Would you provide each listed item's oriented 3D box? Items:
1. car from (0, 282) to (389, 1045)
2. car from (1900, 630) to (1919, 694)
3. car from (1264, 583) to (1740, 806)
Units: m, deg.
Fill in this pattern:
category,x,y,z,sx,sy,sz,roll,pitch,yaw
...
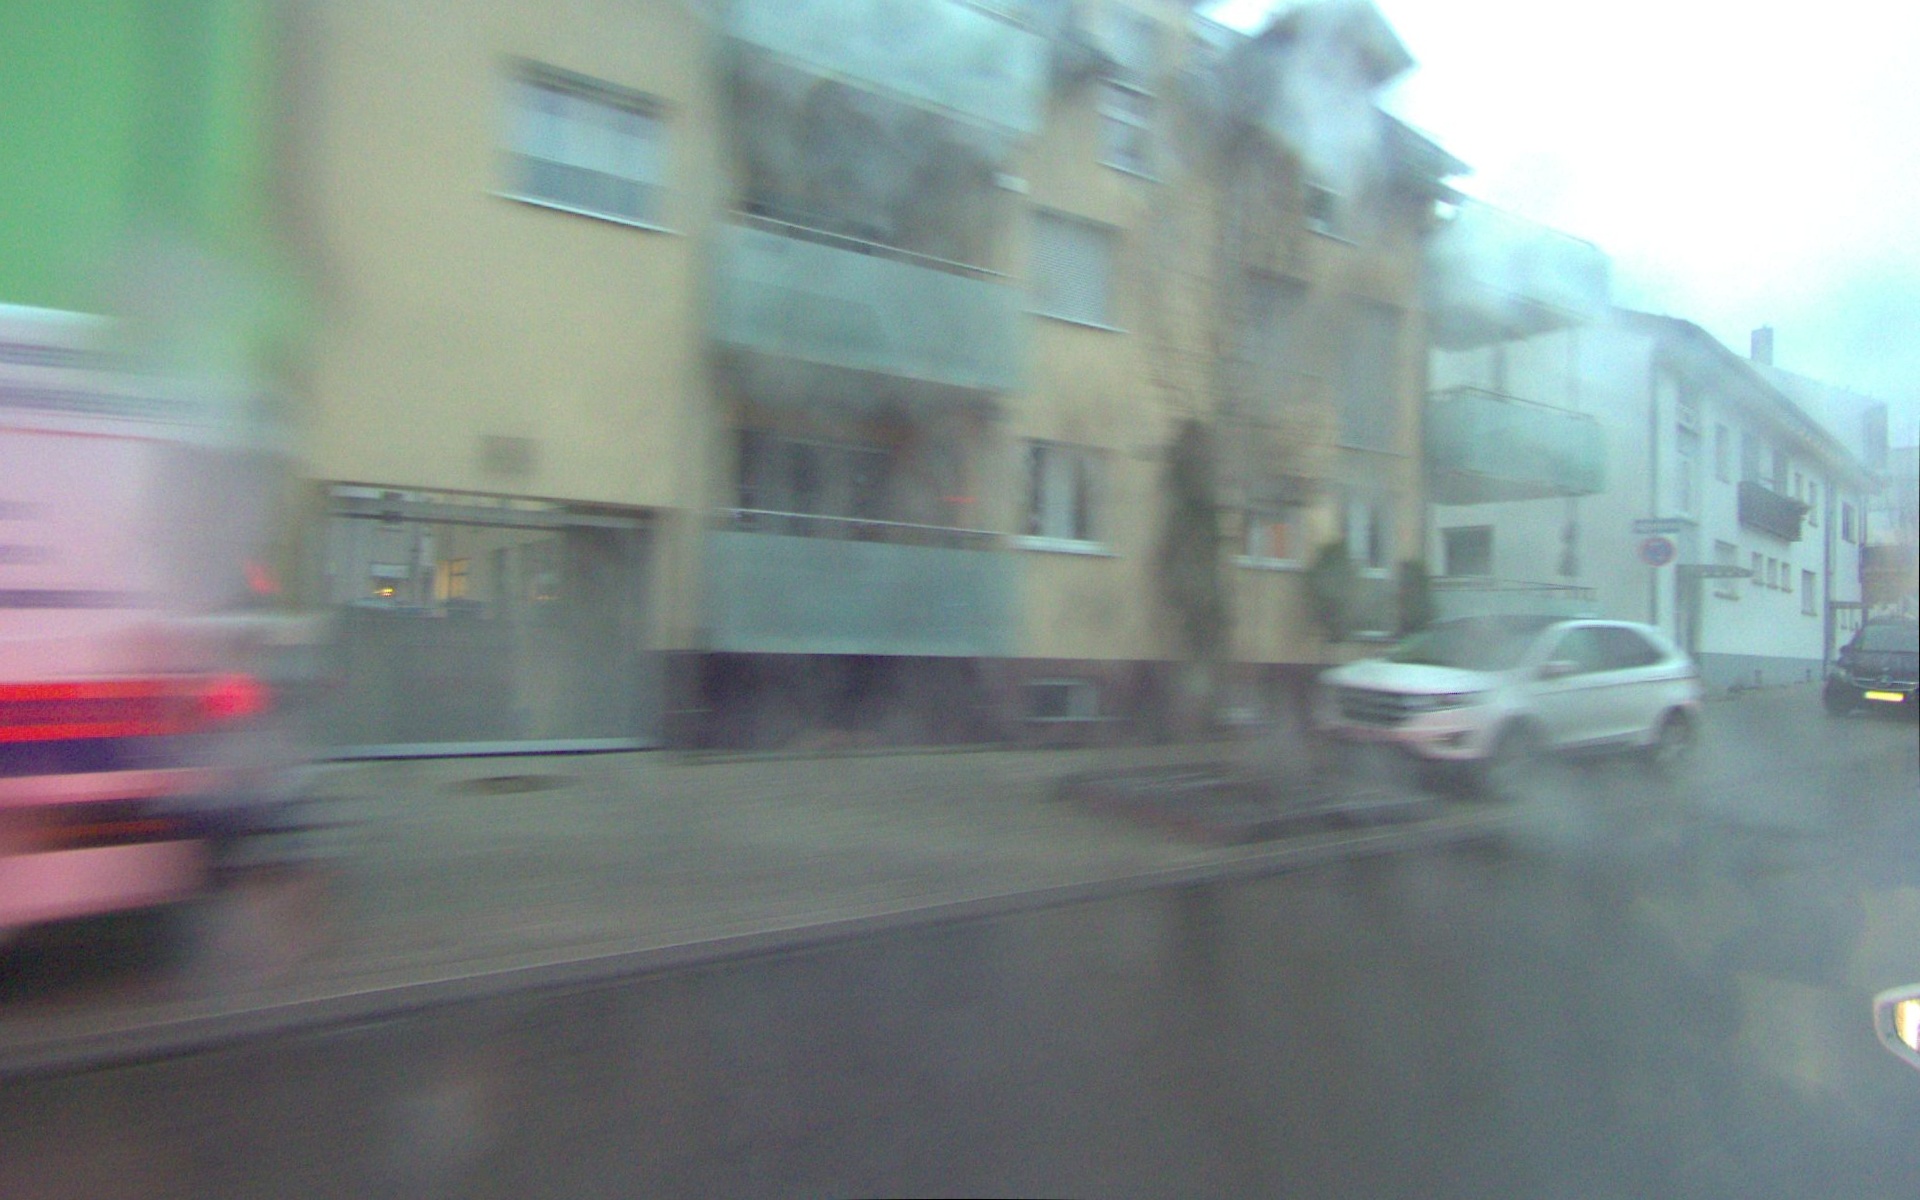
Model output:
category,x,y,z,sx,sy,sz,roll,pitch,yaw
car,-5.982,0.125,3.484,6.671,2.594,2.478,2,-1,-25
car,25.784,1.607,25.619,4.506,1.550,1.897,1,3,-38
car,5.829,0.859,10.599,5.241,1.868,1.984,2,0,-30
